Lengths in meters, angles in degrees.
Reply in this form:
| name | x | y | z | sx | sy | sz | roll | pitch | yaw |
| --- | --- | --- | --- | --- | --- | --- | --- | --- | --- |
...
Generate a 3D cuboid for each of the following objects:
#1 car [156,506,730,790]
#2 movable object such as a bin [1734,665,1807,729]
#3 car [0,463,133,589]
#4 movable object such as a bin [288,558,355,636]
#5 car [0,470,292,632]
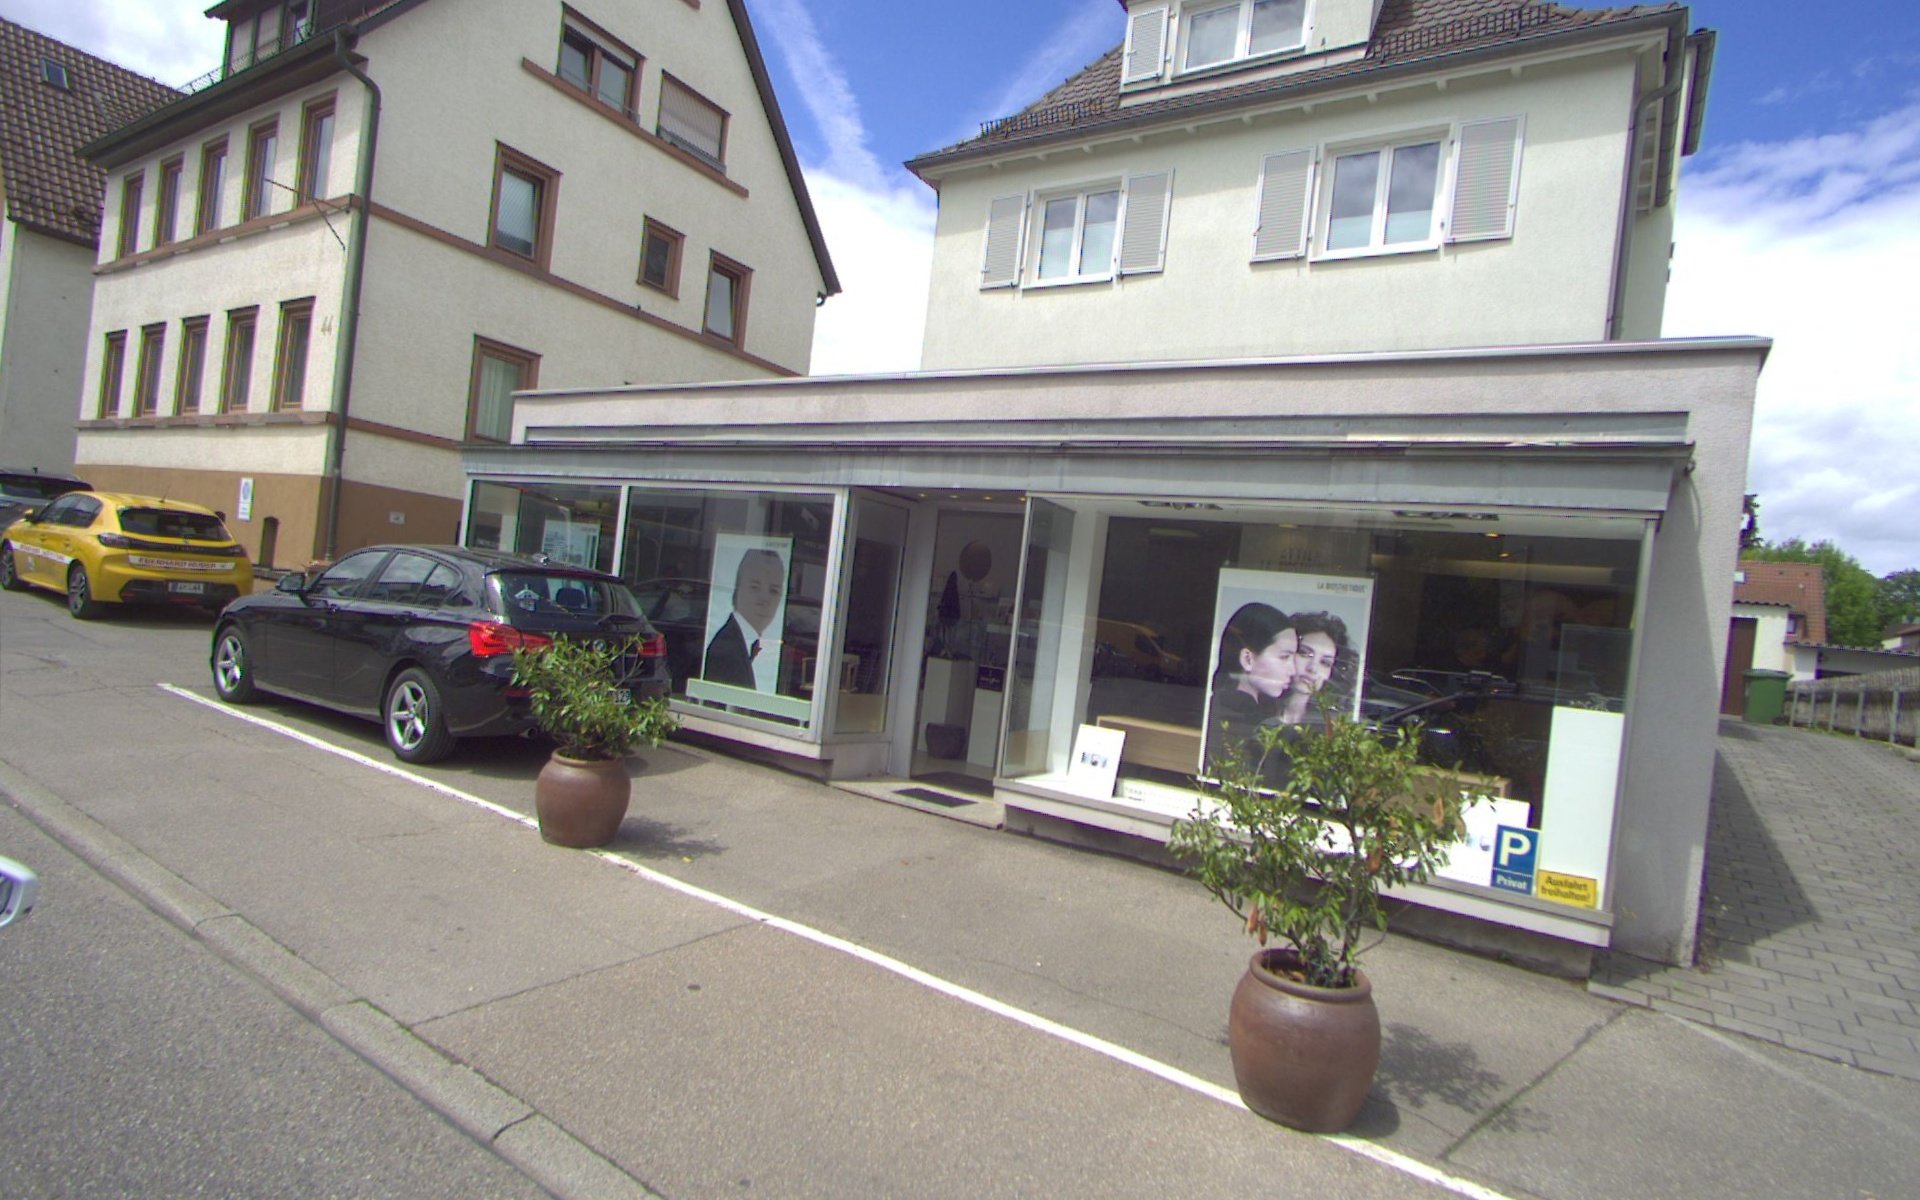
| name | x | y | z | sx | sy | sz | roll | pitch | yaw |
| --- | --- | --- | --- | --- | --- | --- | --- | --- | --- |
| car | -4.214 | 0.240 | 7.997 | 4.461 | 1.465 | 1.970 | 7 | 0 | 32 |
| movable object such as a bin | 15.703 | 1.870 | 19.517 | 0.849 | 1.092 | 1.278 | 7 | 0 | 32 |
| car | -14.813 | -1.265 | 15.527 | 4.512 | 1.632 | 1.861 | 7 | 1 | 34 |
| movable object such as a bin | -8.396 | -0.045 | 13.222 | 0.589 | 0.936 | 0.500 | 7 | 1 | 38 |
| car | -10.817 | -0.673 | 13.092 | 4.235 | 1.466 | 1.879 | 9 | 2 | 32 |
